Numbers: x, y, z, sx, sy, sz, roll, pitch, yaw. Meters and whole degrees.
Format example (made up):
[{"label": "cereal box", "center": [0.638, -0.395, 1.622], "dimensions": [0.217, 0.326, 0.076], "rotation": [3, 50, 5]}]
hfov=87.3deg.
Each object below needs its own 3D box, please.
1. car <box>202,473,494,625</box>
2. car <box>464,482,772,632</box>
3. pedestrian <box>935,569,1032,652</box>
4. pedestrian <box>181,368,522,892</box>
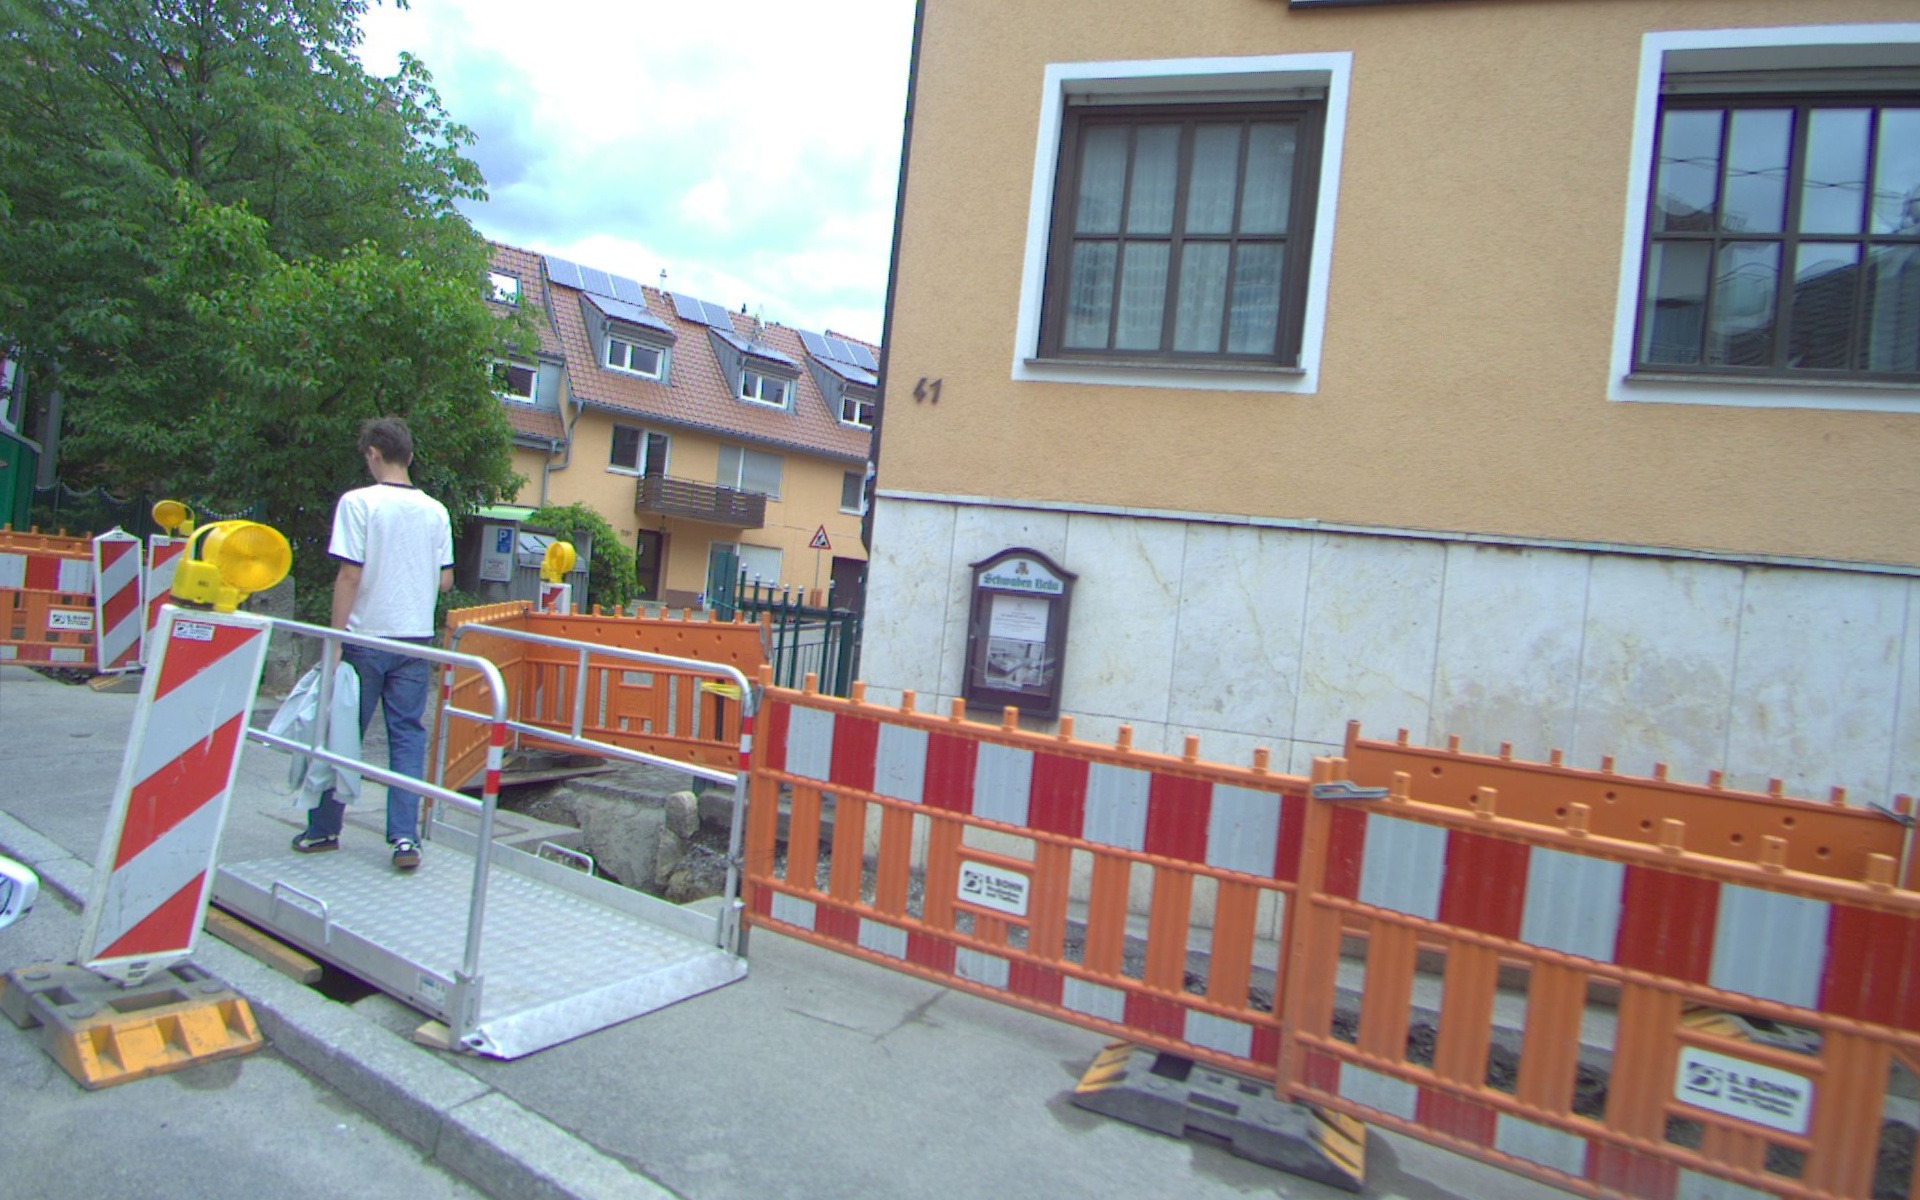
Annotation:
[{"label": "car", "center": [-10.958, -0.856, 18.390], "dimensions": [4.178, 2.058, 1.986], "rotation": [7, 0, -28]}, {"label": "car", "center": [-4.755, -0.518, 14.581], "dimensions": [1.717, 1.581, 3.996], "rotation": [7, -1, 28]}, {"label": "pedestrian", "center": [0.693, 0.320, 28.776], "dimensions": [1.801, 2.038, 1.996], "rotation": [7, 0, 32]}, {"label": "pedestrian", "center": [-2.591, 0.097, 4.315], "dimensions": [0.822, 1.975, 0.799], "rotation": [8, 2, 30]}]
